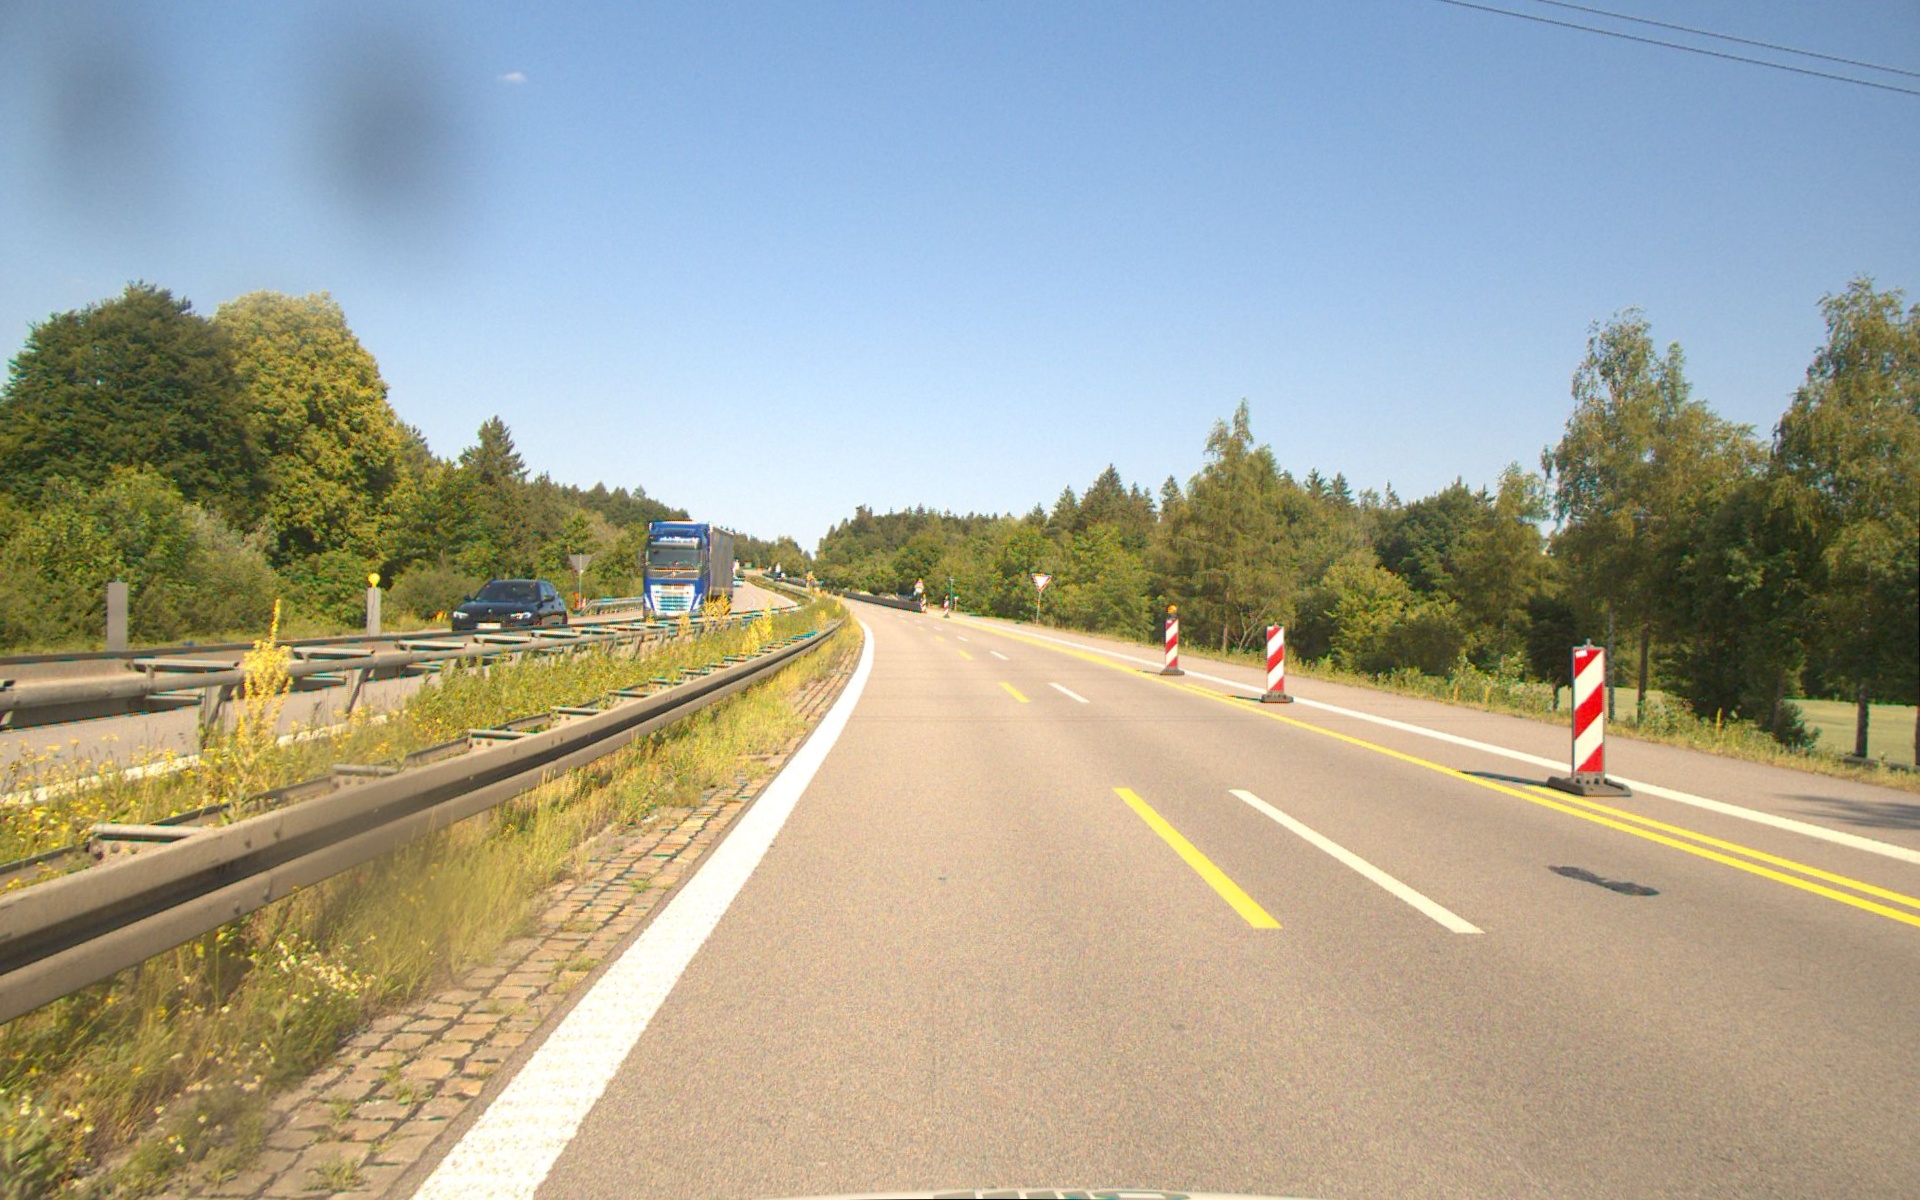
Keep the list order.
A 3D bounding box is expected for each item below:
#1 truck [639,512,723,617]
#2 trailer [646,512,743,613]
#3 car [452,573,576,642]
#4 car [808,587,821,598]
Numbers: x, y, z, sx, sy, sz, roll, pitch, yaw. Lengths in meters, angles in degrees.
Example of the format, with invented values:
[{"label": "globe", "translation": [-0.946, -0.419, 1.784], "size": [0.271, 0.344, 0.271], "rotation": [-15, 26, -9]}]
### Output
[{"label": "truck", "translation": [-11.330, -1.371, 67.578], "size": [2.580, 4.028, 5.839], "rotation": [1, 0, -3]}, {"label": "trailer", "translation": [-11.610, -1.575, 73.669], "size": [2.625, 4.023, 13.762], "rotation": [1, 1, -3]}, {"label": "car", "translation": [-9.982, 0.154, 37.305], "size": [1.741, 1.454, 4.267], "rotation": [0, 0, -2]}, {"label": "car", "translation": [-22.465, -1.154, 254.857], "size": [1.712, 1.491, 4.285], "rotation": [4, 1, -9]}]
